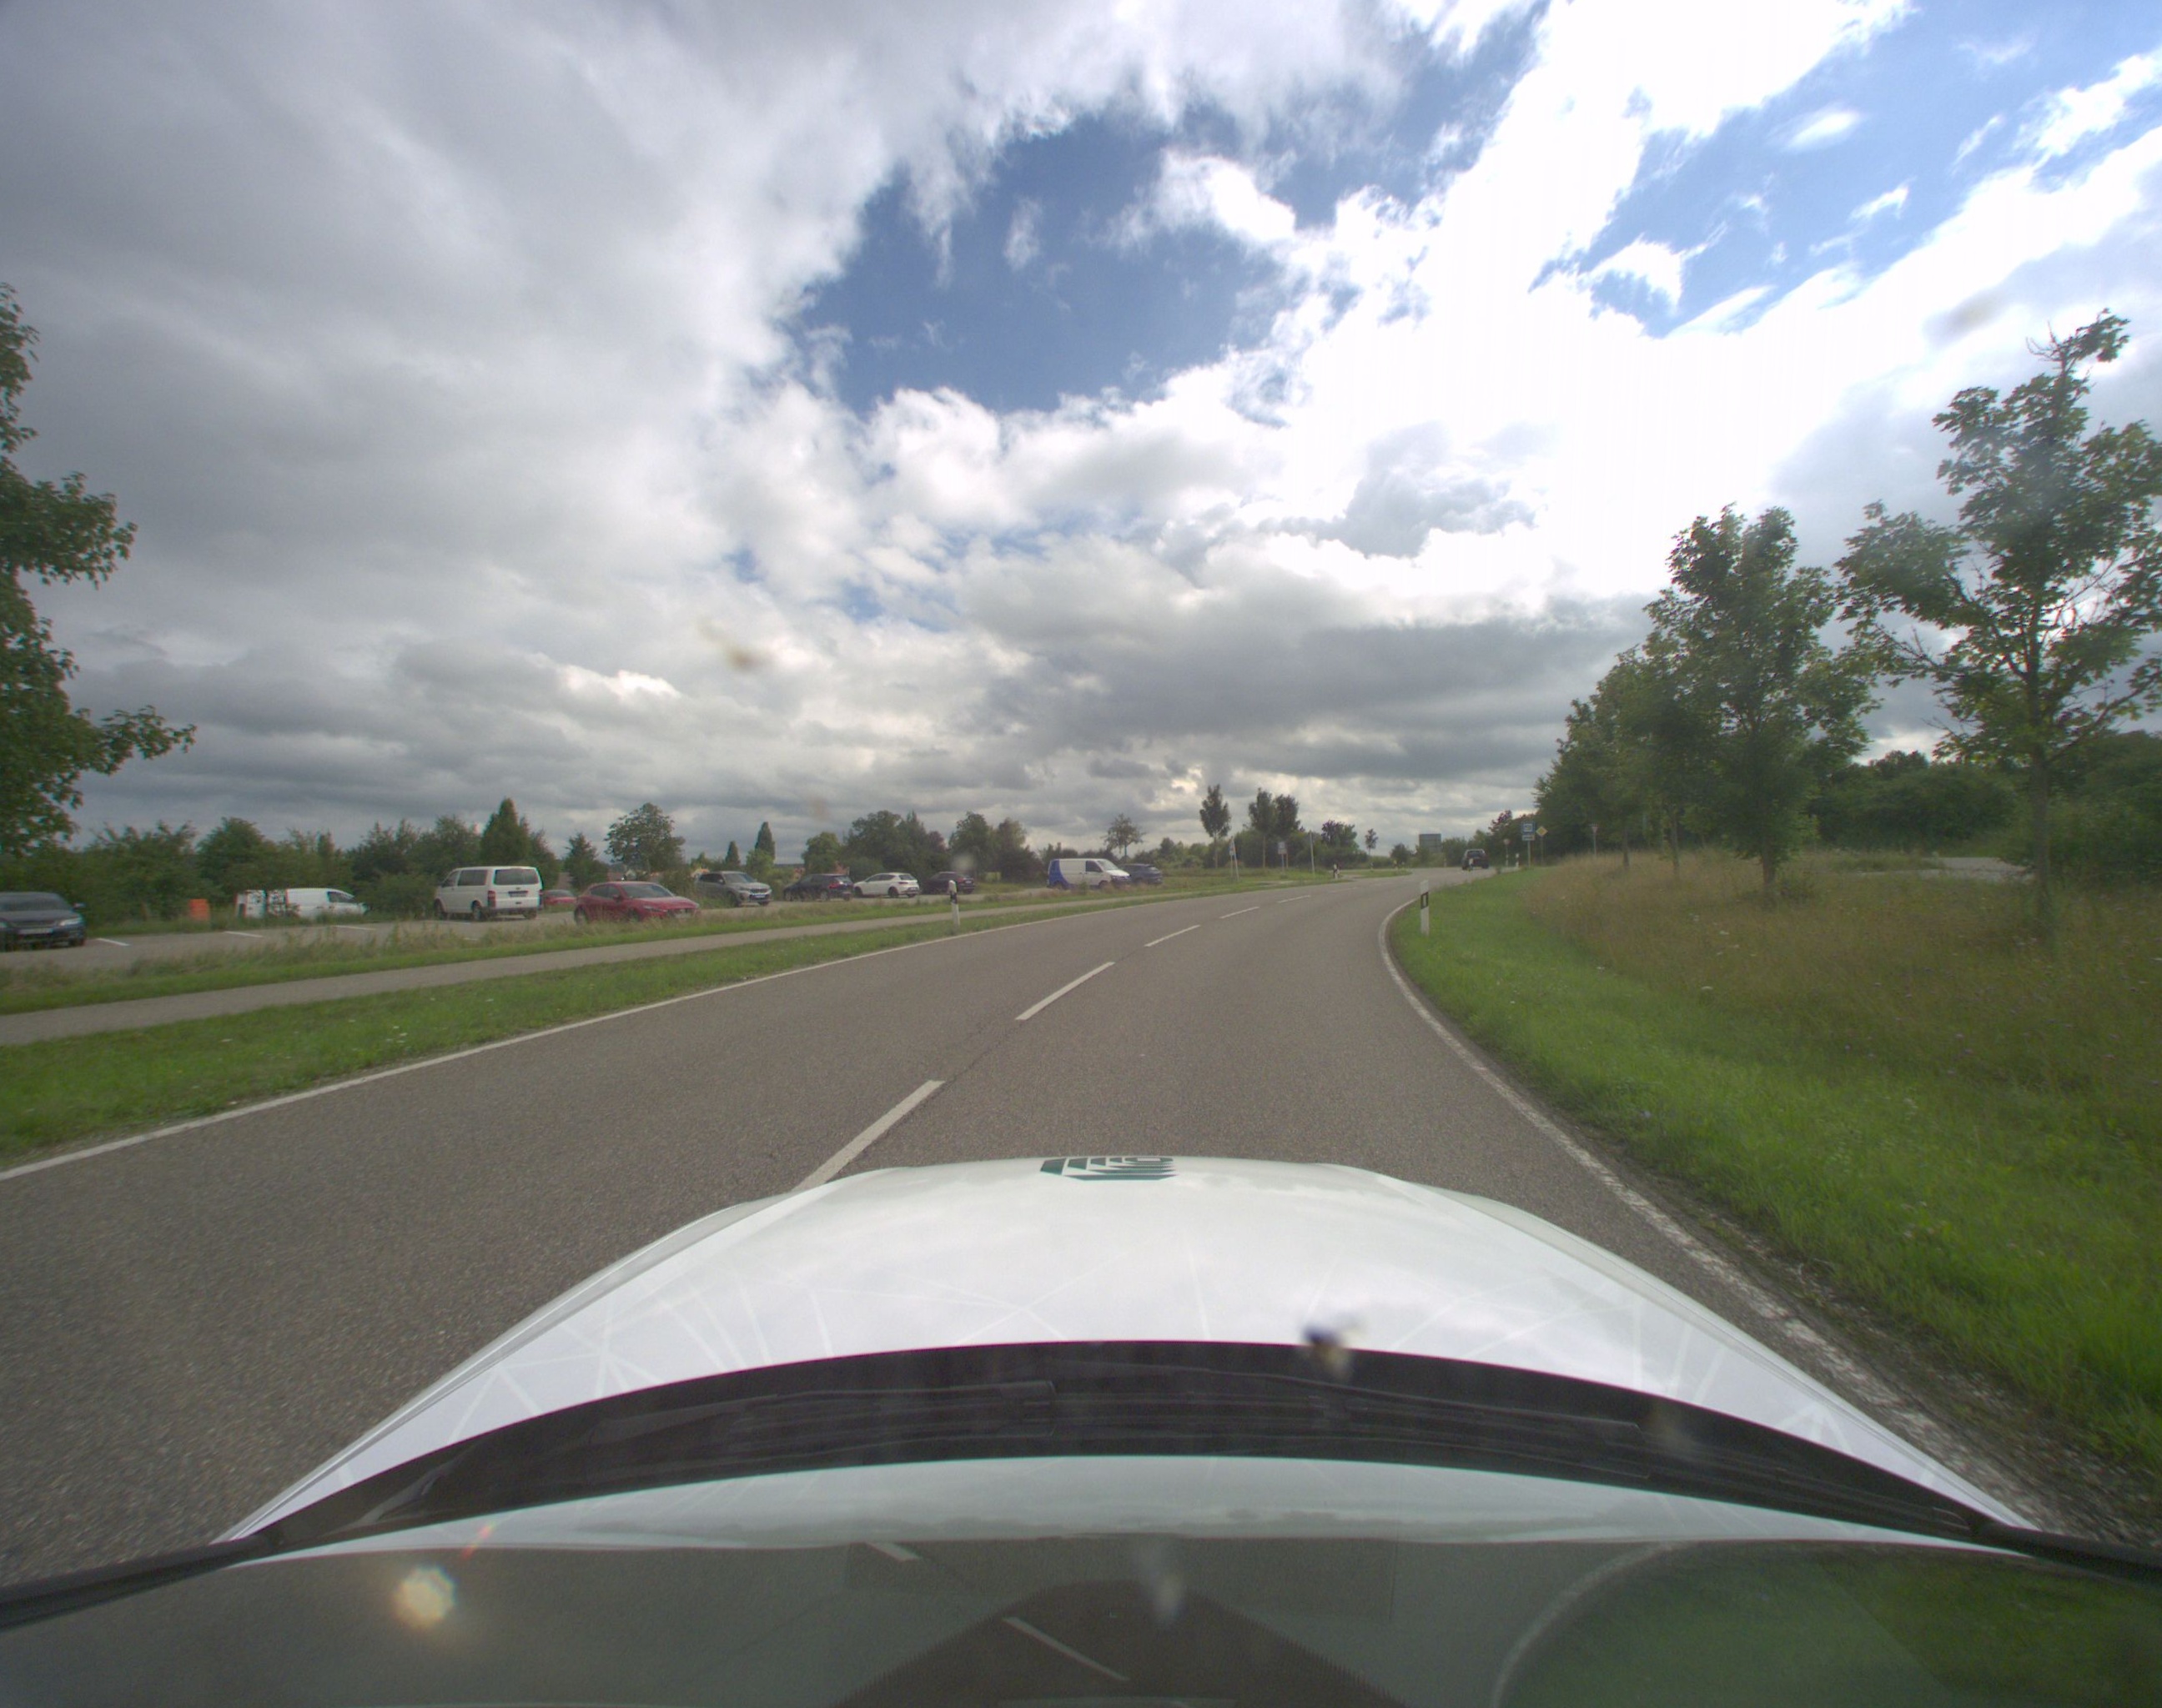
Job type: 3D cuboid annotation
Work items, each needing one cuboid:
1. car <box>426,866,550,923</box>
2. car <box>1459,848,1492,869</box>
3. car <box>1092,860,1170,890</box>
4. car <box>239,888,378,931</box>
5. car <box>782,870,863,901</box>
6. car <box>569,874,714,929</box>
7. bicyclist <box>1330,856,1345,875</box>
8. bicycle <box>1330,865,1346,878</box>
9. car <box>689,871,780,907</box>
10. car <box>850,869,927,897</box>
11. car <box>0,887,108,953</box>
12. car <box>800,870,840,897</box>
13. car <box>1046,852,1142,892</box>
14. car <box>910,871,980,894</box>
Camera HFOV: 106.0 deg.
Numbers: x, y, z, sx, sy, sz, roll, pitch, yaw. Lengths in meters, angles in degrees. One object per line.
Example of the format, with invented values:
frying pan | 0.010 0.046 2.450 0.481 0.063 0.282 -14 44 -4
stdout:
car | -22.069 1.449 30.292 4.636 1.926 2.074 -1 -1 31
car | 33.132 0.394 68.450 1.892 1.666 4.017 -1 0 17
car | 3.040 1.282 49.585 4.206 1.595 2.013 -3 -1 33
car | -35.044 2.478 37.033 1.975 1.623 4.477 -3 -2 43
car | -13.556 1.639 42.706 3.948 1.552 1.978 -1 -1 32
car | -12.881 1.381 23.793 4.321 1.417 1.825 -3 -1 32
bicyclist | 21.336 0.951 67.758 0.822 1.566 1.062 -3 -2 36
bicycle | 21.380 1.423 67.707 0.629 1.032 2.205 -3 -2 34
car | -16.215 1.637 38.105 3.948 1.552 1.978 -2 -1 32
car | -11.107 1.672 47.033 3.950 1.552 1.977 -1 -1 25
car | -27.295 1.699 21.259 3.948 1.525 1.805 -2 -1 30
car | -15.765 1.783 49.080 1.780 1.526 3.761 -1 -1 -26
car | 0.699 1.013 45.282 4.846 2.014 2.069 -3 -1 31
car | -8.562 1.786 51.129 3.950 1.387 1.853 -1 -1 25
